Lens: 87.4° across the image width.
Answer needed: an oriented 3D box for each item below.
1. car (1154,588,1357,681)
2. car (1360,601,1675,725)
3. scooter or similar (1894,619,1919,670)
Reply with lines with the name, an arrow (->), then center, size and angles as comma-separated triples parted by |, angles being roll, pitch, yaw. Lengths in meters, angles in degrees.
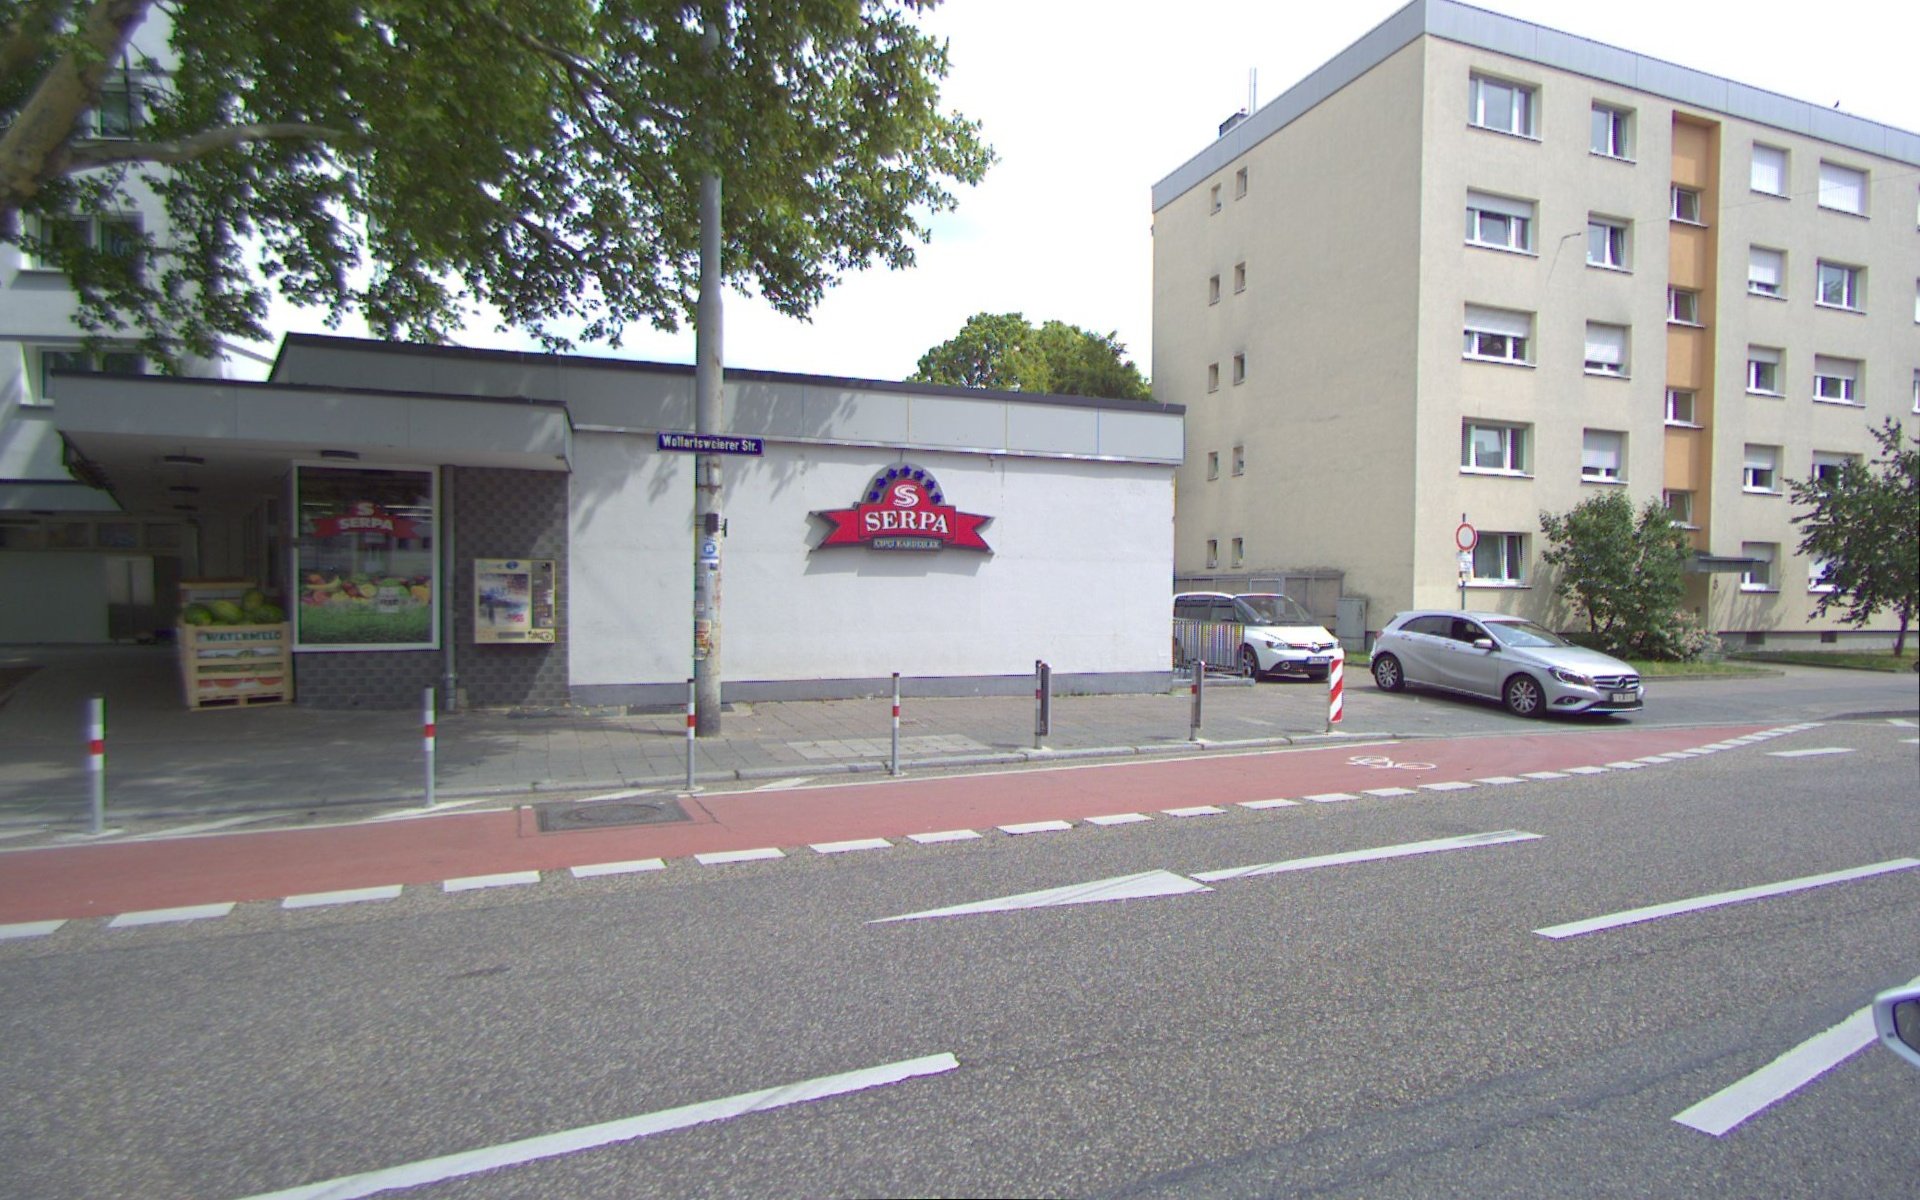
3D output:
car -> 5.953, 0.649, 20.893 | 1.820, 1.708, 4.629 | 0, 0, -17
car -> 8.619, 0.870, 16.005 | 1.821, 1.470, 4.164 | 1, 3, -21
scooter or similar -> 23.577, 1.098, 24.568 | 1.267, 1.209, 0.402 | 1, 2, -13
